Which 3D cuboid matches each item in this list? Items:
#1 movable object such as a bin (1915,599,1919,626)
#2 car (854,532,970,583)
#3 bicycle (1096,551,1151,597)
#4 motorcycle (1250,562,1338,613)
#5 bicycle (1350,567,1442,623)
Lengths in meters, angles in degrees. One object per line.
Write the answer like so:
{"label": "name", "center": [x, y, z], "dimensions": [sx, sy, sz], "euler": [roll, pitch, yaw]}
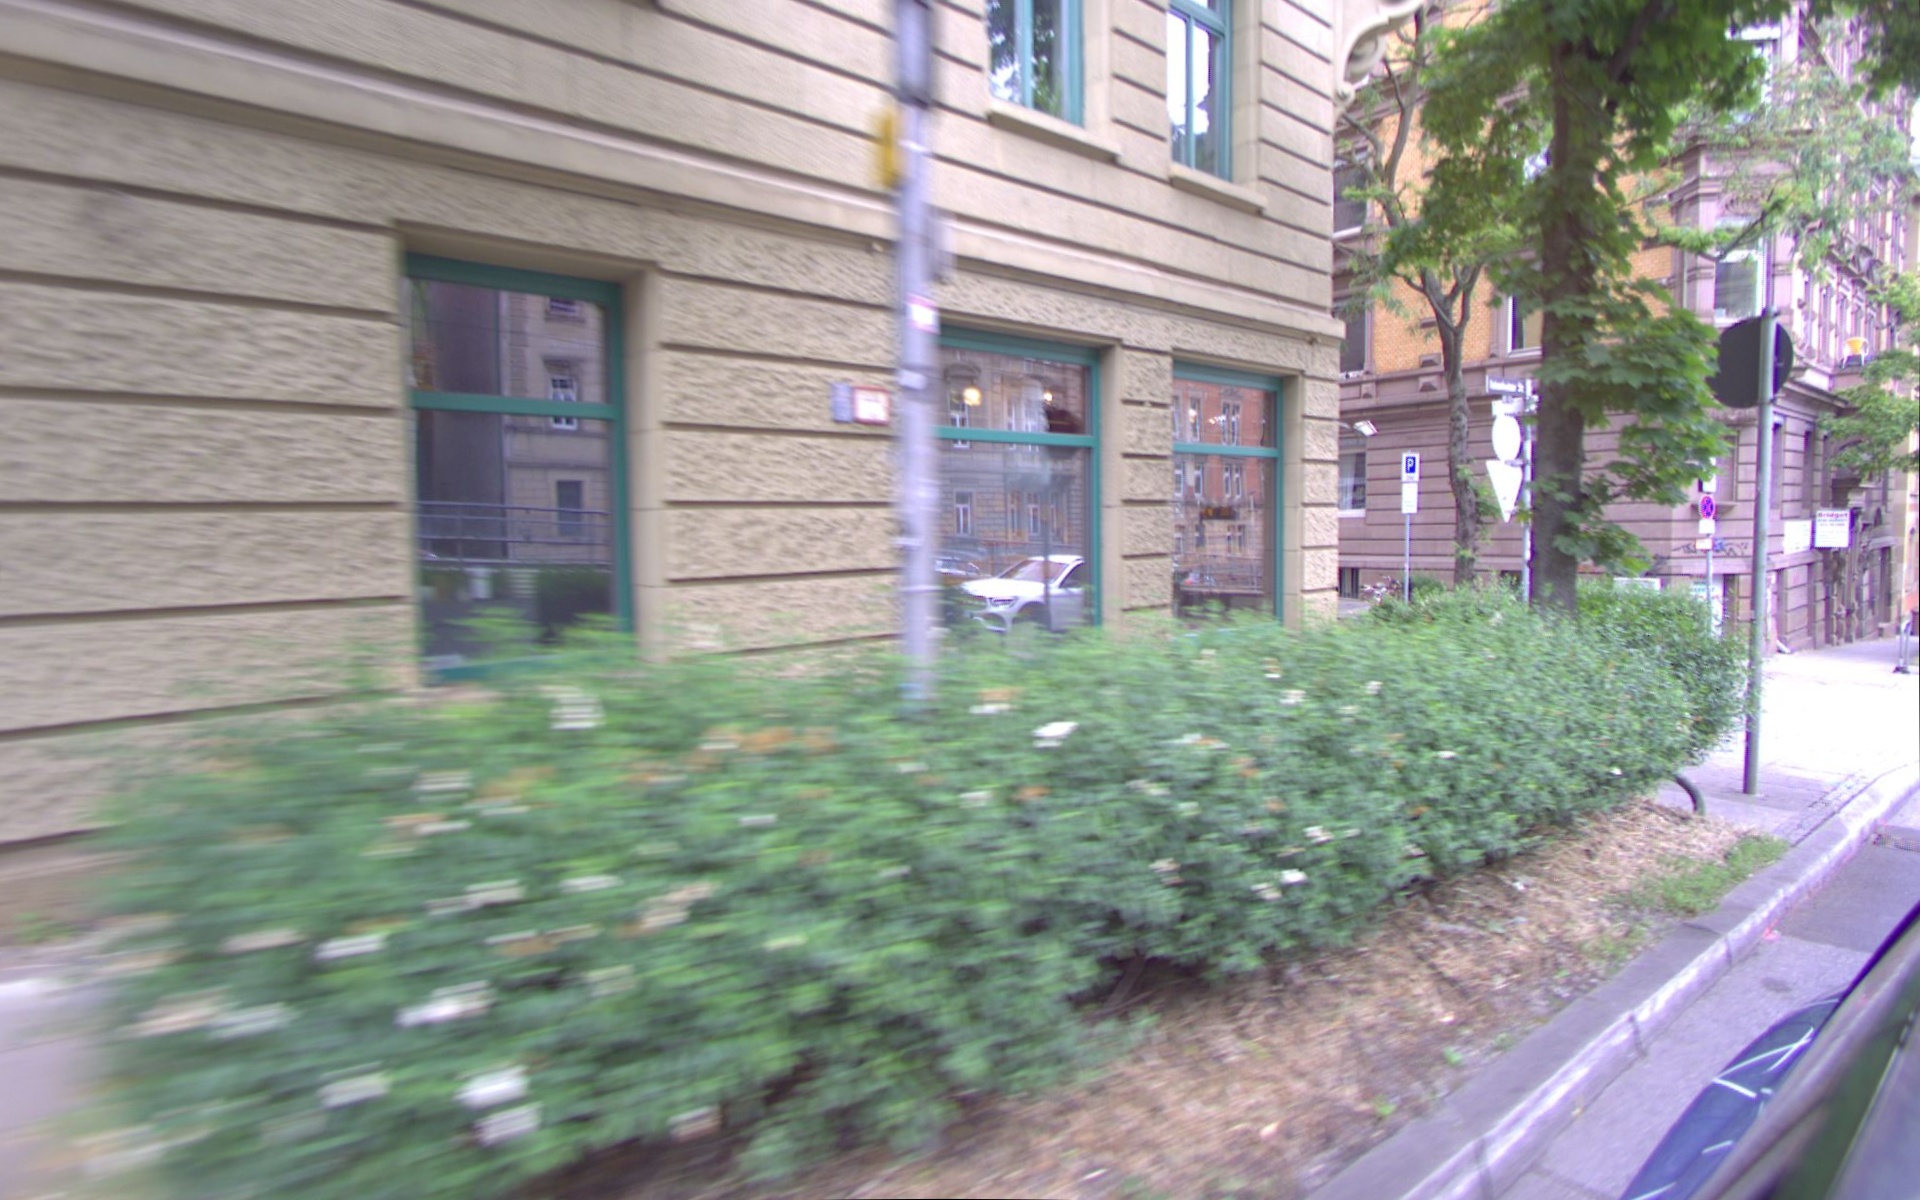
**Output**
{"label": "movable object such as a bin", "center": [33.939, 0.450, 35.392], "dimensions": [0.529, 0.954, 0.673], "euler": [0, 2, -37]}
{"label": "car", "center": [-1.673, -1.466, 33.579], "dimensions": [1.614, 1.422, 4.280], "euler": [-3, 7, -39]}
{"label": "bicycle", "center": [4.418, -0.712, 27.214], "dimensions": [0.563, 1.111, 1.895], "euler": [5, 7, 39]}
{"label": "motorcycle", "center": [7.578, -0.291, 22.960], "dimensions": [1.881, 1.111, 0.510], "euler": [0, 5, -16]}
{"label": "bicycle", "center": [9.183, -0.122, 21.315], "dimensions": [1.881, 1.111, 0.510], "euler": [-1, 6, -20]}
